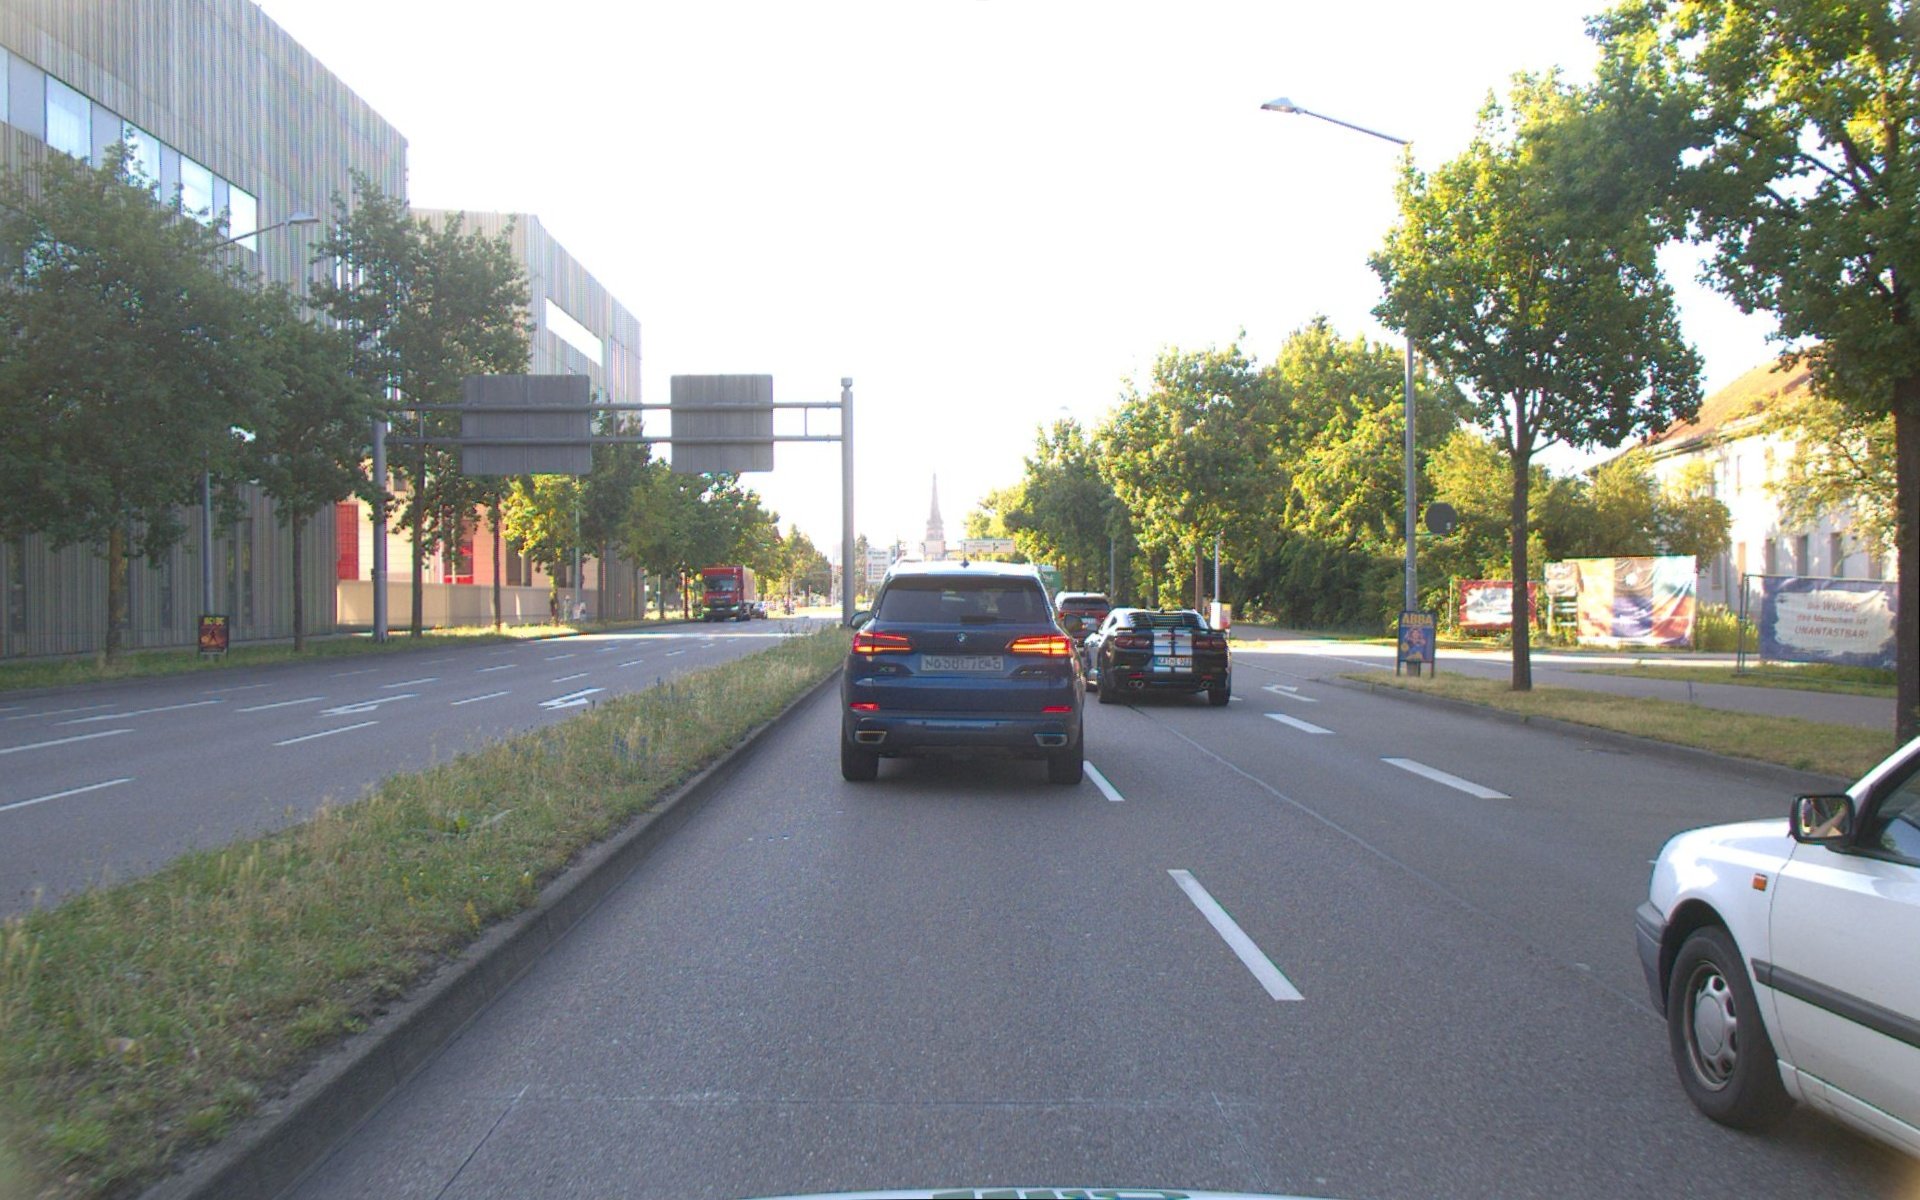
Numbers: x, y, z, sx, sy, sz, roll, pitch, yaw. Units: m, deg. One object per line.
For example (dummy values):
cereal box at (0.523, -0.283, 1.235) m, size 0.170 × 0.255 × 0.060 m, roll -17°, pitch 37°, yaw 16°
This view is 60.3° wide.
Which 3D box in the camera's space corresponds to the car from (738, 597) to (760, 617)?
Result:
car at (-16.778, 0.574, 131.739) m, size 1.565 × 1.539 × 3.863 m, roll 0°, pitch 0°, yaw -5°

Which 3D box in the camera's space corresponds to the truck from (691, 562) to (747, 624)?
truck at (-15.816, -0.439, 109.194) m, size 2.939 × 3.878 × 10.079 m, roll 0°, pitch 0°, yaw -5°

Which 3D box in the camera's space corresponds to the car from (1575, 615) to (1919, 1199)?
car at (3.006, 0.796, 3.749) m, size 1.578 × 1.423 × 4.037 m, roll 2°, pitch 0°, yaw -2°

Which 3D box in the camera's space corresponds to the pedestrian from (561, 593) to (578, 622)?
pedestrian at (-22.514, 0.442, 95.294) m, size 0.760 × 1.629 × 0.909 m, roll 0°, pitch 0°, yaw 0°

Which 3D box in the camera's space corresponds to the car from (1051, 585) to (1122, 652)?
car at (3.258, 0.458, 43.181) m, size 1.711 × 1.649 × 3.821 m, roll -1°, pitch 0°, yaw 3°

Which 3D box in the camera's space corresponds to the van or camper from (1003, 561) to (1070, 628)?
van or camper at (3.161, -0.215, 69.671) m, size 2.239 × 2.675 × 6.580 m, roll 1°, pitch 0°, yaw -2°

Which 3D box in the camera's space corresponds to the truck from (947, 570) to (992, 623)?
truck at (0.469, -0.172, 87.439) m, size 2.175 × 2.697 × 4.772 m, roll 0°, pitch 0°, yaw -2°

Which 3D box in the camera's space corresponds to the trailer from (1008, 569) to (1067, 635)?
trailer at (2.952, 0.076, 63.642) m, size 2.047 × 2.442 × 3.500 m, roll 1°, pitch 0°, yaw -1°

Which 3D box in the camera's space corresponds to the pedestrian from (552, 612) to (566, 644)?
pedestrian at (-23.252, 1.630, 95.999) m, size 0.619 × 1.873 × 0.716 m, roll 0°, pitch 0°, yaw 0°

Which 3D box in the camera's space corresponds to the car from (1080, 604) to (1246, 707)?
car at (2.907, 0.753, 24.649) m, size 1.816 × 1.361 × 4.624 m, roll 1°, pitch 0°, yaw -1°

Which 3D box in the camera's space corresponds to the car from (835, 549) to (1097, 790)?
car at (0.048, 0.539, 14.530) m, size 1.915 × 1.757 × 4.699 m, roll 1°, pitch -1°, yaw 0°

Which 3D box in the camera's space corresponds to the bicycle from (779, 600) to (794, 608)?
bicycle at (-22.934, 0.569, 218.745) m, size 1.868 × 1.037 × 0.505 m, roll 0°, pitch -1°, yaw 14°

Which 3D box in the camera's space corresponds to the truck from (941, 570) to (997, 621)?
truck at (0.447, -0.224, 88.013) m, size 2.529 × 2.603 × 6.247 m, roll -1°, pitch 0°, yaw -4°
